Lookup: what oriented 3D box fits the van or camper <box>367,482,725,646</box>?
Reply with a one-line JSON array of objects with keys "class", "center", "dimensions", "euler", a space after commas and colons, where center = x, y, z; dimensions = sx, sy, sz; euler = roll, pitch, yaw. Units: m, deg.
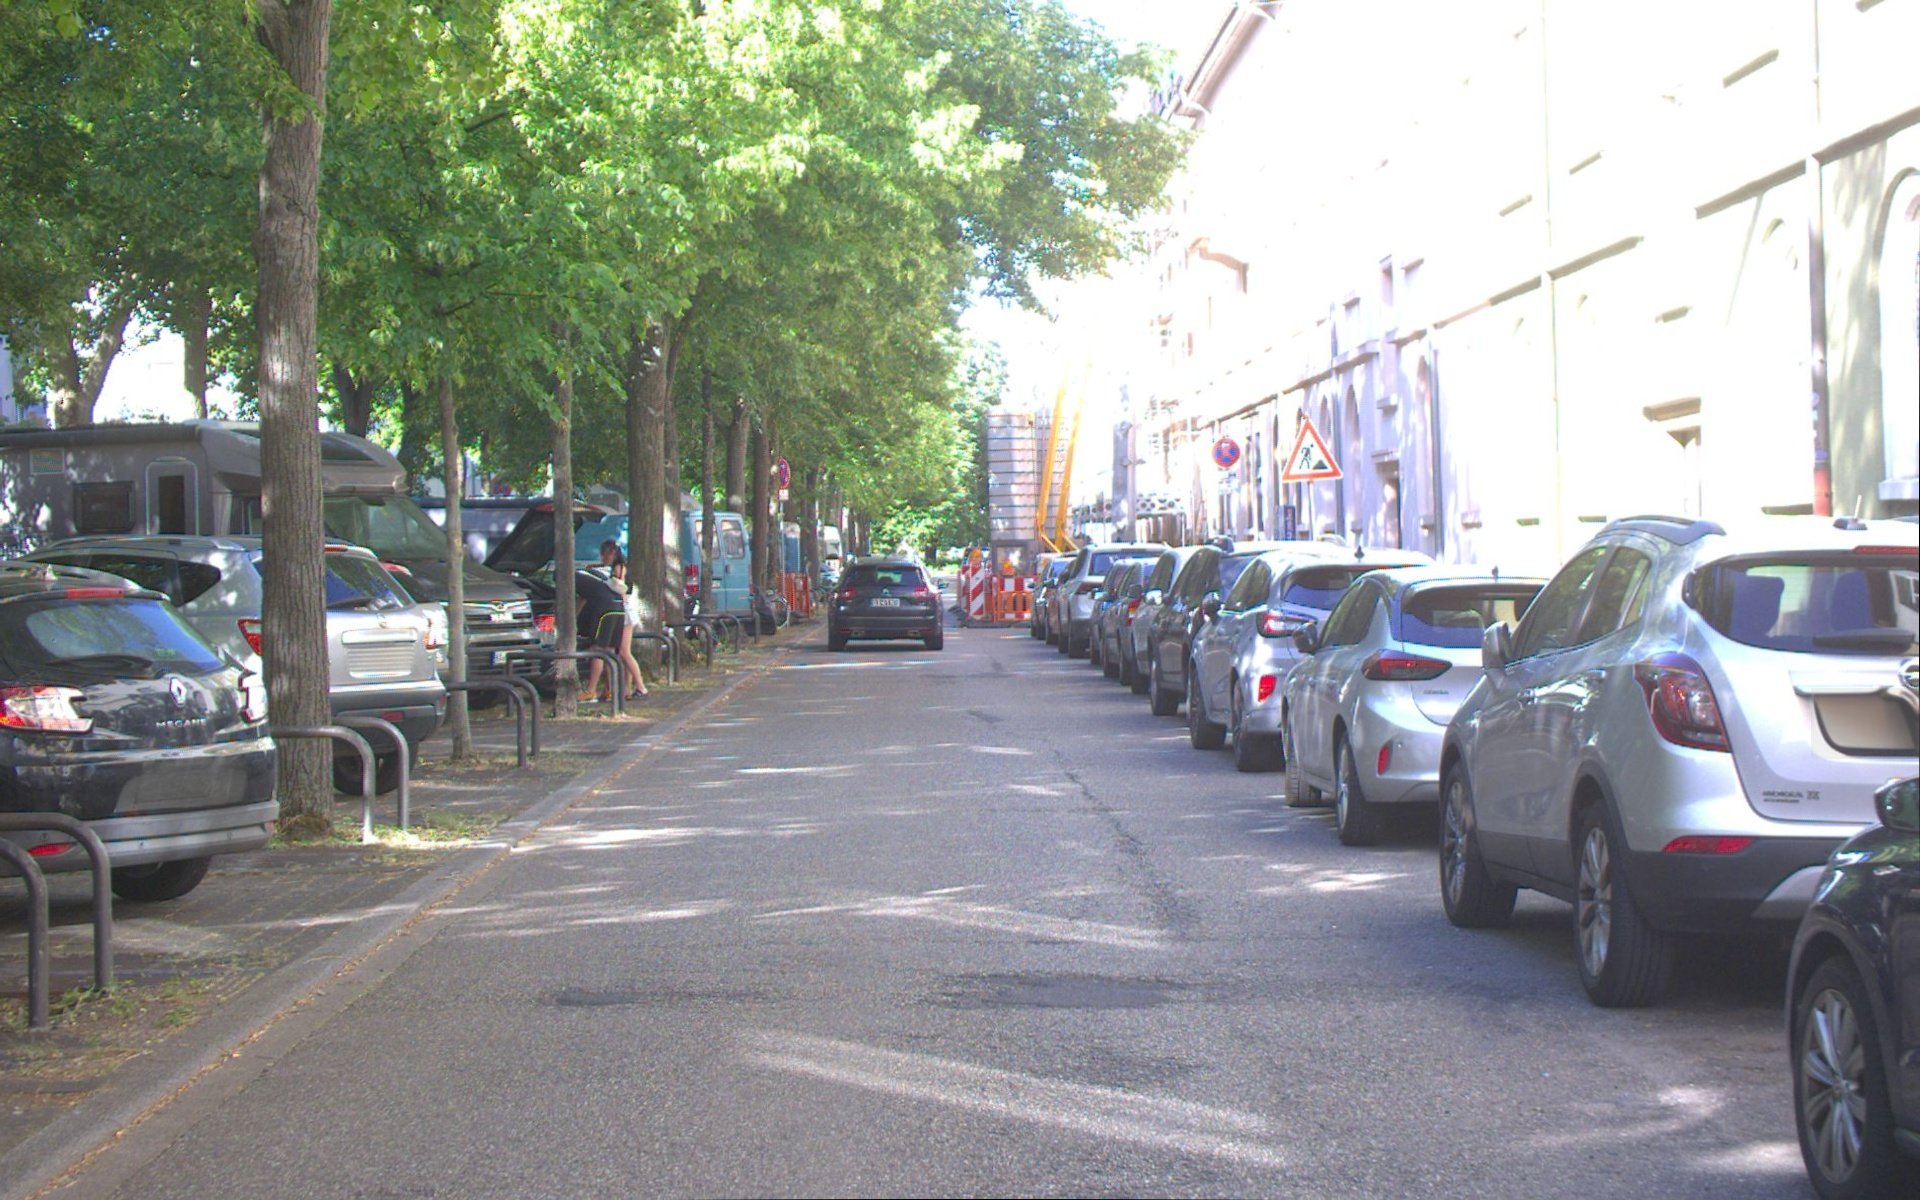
[{"class": "van or camper", "center": [-7.224, -0.613, 59.773], "dimensions": [5.877, 2.628, 2.252], "euler": [-2, 1, 29]}]

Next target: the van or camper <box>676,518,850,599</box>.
[{"class": "van or camper", "center": [-6.570, -1.384, 114.344], "dimensions": [5.342, 2.466, 2.290], "euler": [-2, 1, 32]}]

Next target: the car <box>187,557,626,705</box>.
[{"class": "car", "center": [-5.796, 0.329, 35.908], "dimensions": [4.321, 1.419, 1.673], "euler": [-1, 1, 26]}]

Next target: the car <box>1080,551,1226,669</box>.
[{"class": "car", "center": [2.487, 0.097, 44.988], "dimensions": [1.617, 1.408, 3.788], "euler": [-2, 1, 0]}]

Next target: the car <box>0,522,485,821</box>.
[{"class": "car", "center": [-5.164, 0.424, 21.209], "dimensions": [4.140, 1.673, 1.756], "euler": [-1, 1, 28]}]

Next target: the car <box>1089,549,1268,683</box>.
[{"class": "car", "center": [2.487, 0.148, 39.891], "dimensions": [1.630, 1.408, 4.089], "euler": [-2, 1, -2]}]

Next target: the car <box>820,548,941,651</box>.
[{"class": "car", "center": [-1.272, -0.029, 54.534], "dimensions": [1.797, 1.498, 3.586], "euler": [-2, 1, -2]}]

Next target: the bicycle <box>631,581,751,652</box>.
[{"class": "bicycle", "center": [-4.060, 0.248, 51.864], "dimensions": [1.719, 1.002, 0.511], "euler": [-3, 1, -30]}]

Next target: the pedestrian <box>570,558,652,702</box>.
[{"class": "pedestrian", "center": [-3.571, 0.306, 35.233], "dimensions": [0.615, 1.451, 0.519], "euler": [-2, 1, 23]}]

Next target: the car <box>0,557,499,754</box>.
[{"class": "car", "center": [-6.060, 0.472, 28.986], "dimensions": [3.993, 1.502, 1.755], "euler": [-2, 1, 28]}]

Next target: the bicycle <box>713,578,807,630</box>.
[{"class": "bicycle", "center": [-4.086, 0.089, 70.181], "dimensions": [1.899, 1.003, 0.430], "euler": [-1, 1, 23]}]

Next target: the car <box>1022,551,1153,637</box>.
[{"class": "car", "center": [2.218, -0.128, 60.812], "dimensions": [1.993, 1.404, 4.501], "euler": [-1, 1, -2]}]

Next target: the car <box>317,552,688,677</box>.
[{"class": "car", "center": [-5.738, 0.192, 42.932], "dimensions": [4.482, 1.438, 1.729], "euler": [-1, 1, 32]}]

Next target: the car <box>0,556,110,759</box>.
[{"class": "car", "center": [-8.633, 0.478, 27.104], "dimensions": [3.539, 1.502, 1.754], "euler": [-1, 1, 33]}]

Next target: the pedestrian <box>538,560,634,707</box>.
[{"class": "pedestrian", "center": [-3.769, 0.334, 34.669], "dimensions": [0.710, 1.451, 0.596], "euler": [-2, 1, 23]}]

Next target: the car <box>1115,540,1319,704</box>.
[{"class": "car", "center": [2.563, 0.181, 34.949], "dimensions": [1.630, 1.529, 3.593], "euler": [-2, 1, -2]}]

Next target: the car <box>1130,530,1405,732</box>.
[{"class": "car", "center": [2.607, 0.215, 30.051], "dimensions": [1.722, 1.591, 4.159], "euler": [-2, 1, -4]}]

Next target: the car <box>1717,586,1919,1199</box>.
[{"class": "car", "center": [2.804, 0.684, 6.617], "dimensions": [1.549, 1.389, 3.862], "euler": [-2, 1, -4]}]

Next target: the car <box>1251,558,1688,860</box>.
[{"class": "car", "center": [2.715, 0.515, 19.199], "dimensions": [1.722, 1.427, 4.158], "euler": [-2, 1, -1]}]

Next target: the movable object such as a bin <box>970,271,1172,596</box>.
[{"class": "movable object such as a bin", "center": [2.381, -3.502, 73.711], "dimensions": [3.485, 6.736, 2.364], "euler": [-1, 1, 32]}]

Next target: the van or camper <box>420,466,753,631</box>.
[{"class": "van or camper", "center": [-7.940, -1.088, 72.873], "dimensions": [6.666, 3.229, 2.492], "euler": [-2, 1, 28]}]

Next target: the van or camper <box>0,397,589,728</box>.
[{"class": "van or camper", "center": [-7.354, -0.307, 33.471], "dimensions": [7.236, 2.919, 2.311], "euler": [-2, 1, 27]}]

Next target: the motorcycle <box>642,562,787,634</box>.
[{"class": "motorcycle", "center": [-4.551, -0.040, 63.728], "dimensions": [2.550, 1.254, 0.763], "euler": [-2, 1, 8]}]

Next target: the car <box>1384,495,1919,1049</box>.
[{"class": "car", "center": [2.811, 0.480, 12.687], "dimensions": [1.722, 1.680, 4.159], "euler": [-2, 1, -3]}]

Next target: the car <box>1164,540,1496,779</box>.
[{"class": "car", "center": [2.571, 0.357, 24.789], "dimensions": [1.722, 1.523, 4.159], "euler": [-2, 1, -3]}]

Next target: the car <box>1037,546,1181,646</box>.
[{"class": "car", "center": [2.387, -0.094, 55.876], "dimensions": [1.790, 1.518, 3.964], "euler": [-2, 1, -5]}]

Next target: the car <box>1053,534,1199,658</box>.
[{"class": "car", "center": [2.388, -0.100, 50.442], "dimensions": [1.816, 1.668, 4.674], "euler": [-2, 1, 0]}]

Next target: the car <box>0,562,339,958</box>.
[{"class": "car", "center": [-4.903, 0.614, 14.640], "dimensions": [4.417, 1.457, 1.713], "euler": [-1, 0, 32]}]

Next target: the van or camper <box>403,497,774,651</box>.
[{"class": "van or camper", "center": [-6.002, -0.420, 55.530], "dimensions": [5.504, 2.267, 2.218], "euler": [-2, 1, 23]}]

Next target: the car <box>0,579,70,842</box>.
[{"class": "car", "center": [-7.067, 0.582, 19.125], "dimensions": [4.036, 1.398, 1.821], "euler": [1, 1, 32]}]
